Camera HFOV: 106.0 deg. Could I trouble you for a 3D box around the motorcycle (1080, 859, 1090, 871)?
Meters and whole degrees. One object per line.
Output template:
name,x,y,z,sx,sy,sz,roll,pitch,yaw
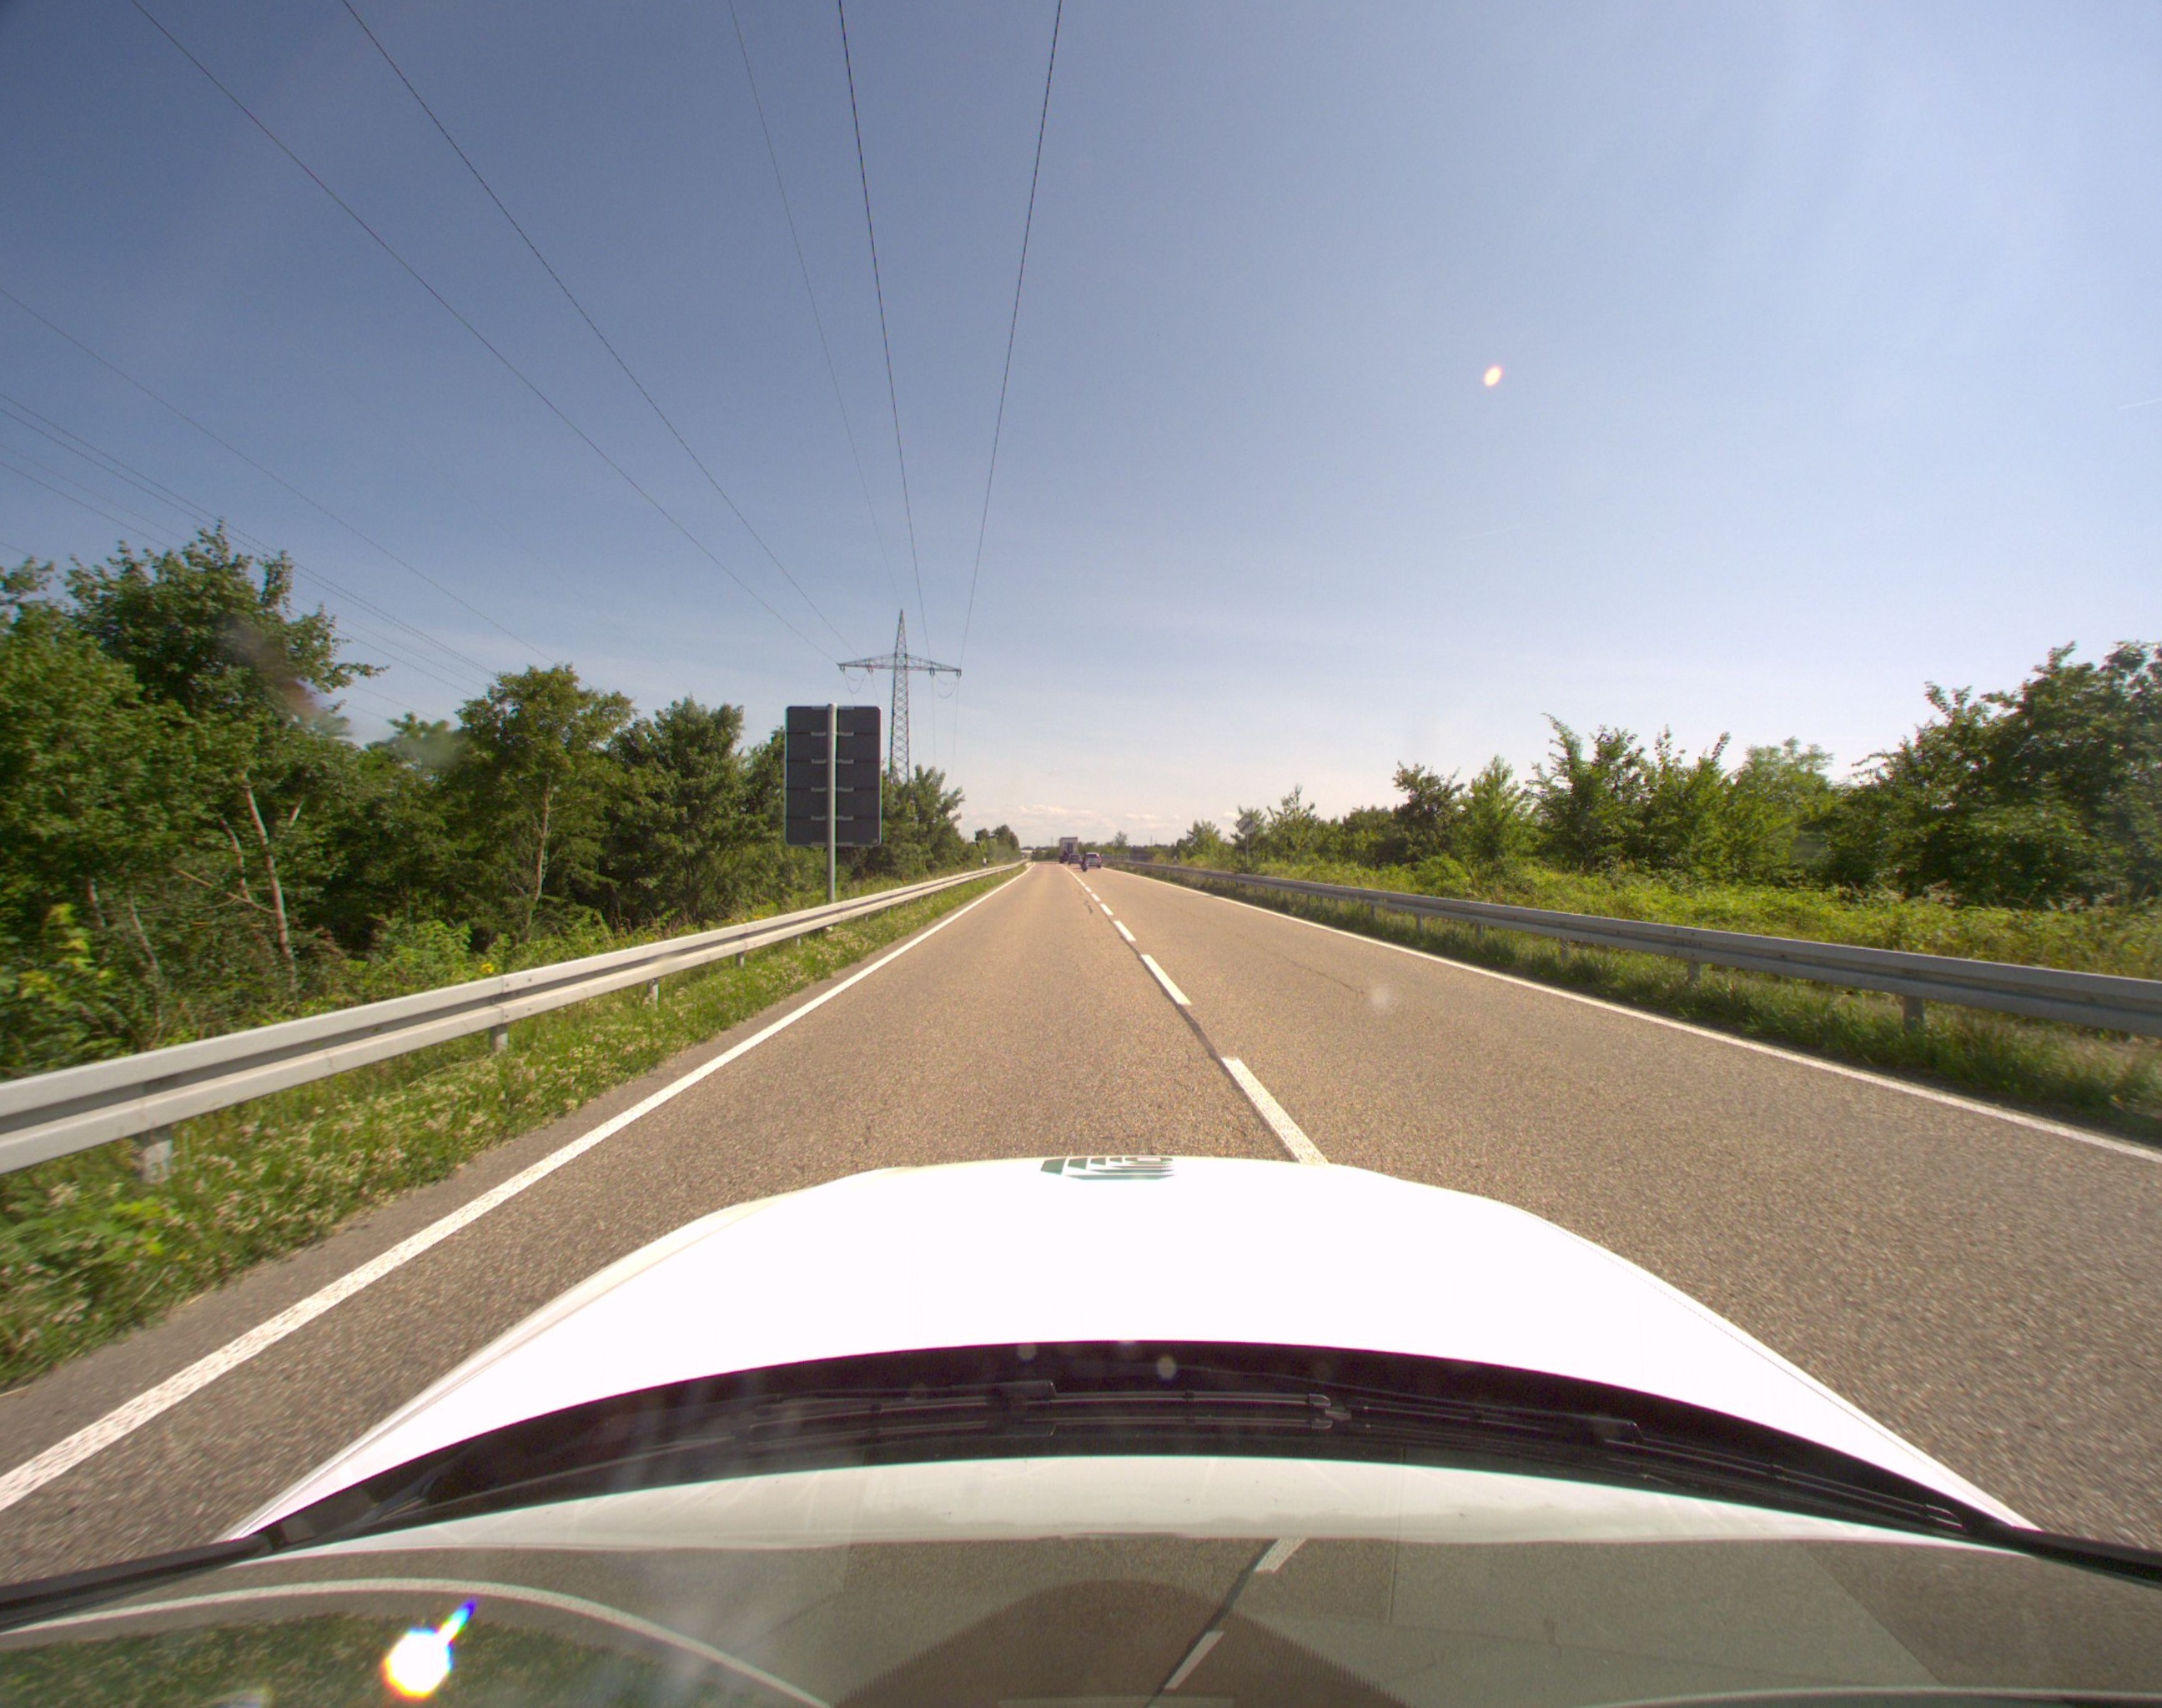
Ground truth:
motorcycle,0.302,0.902,67.779,0.778,0.975,2.360,-1,0,-1

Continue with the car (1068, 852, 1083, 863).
car,-0.780,0.432,106.114,1.861,1.420,3.998,0,0,-2

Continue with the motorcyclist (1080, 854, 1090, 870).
motorcyclist,0.309,0.655,67.799,0.778,1.325,0.813,-1,0,-1

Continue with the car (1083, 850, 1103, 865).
car,1.190,0.291,82.110,1.820,1.451,3.998,-1,0,-1

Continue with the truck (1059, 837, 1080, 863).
truck,-1.803,-0.615,130.070,3.232,3.979,9.439,-1,0,-1
